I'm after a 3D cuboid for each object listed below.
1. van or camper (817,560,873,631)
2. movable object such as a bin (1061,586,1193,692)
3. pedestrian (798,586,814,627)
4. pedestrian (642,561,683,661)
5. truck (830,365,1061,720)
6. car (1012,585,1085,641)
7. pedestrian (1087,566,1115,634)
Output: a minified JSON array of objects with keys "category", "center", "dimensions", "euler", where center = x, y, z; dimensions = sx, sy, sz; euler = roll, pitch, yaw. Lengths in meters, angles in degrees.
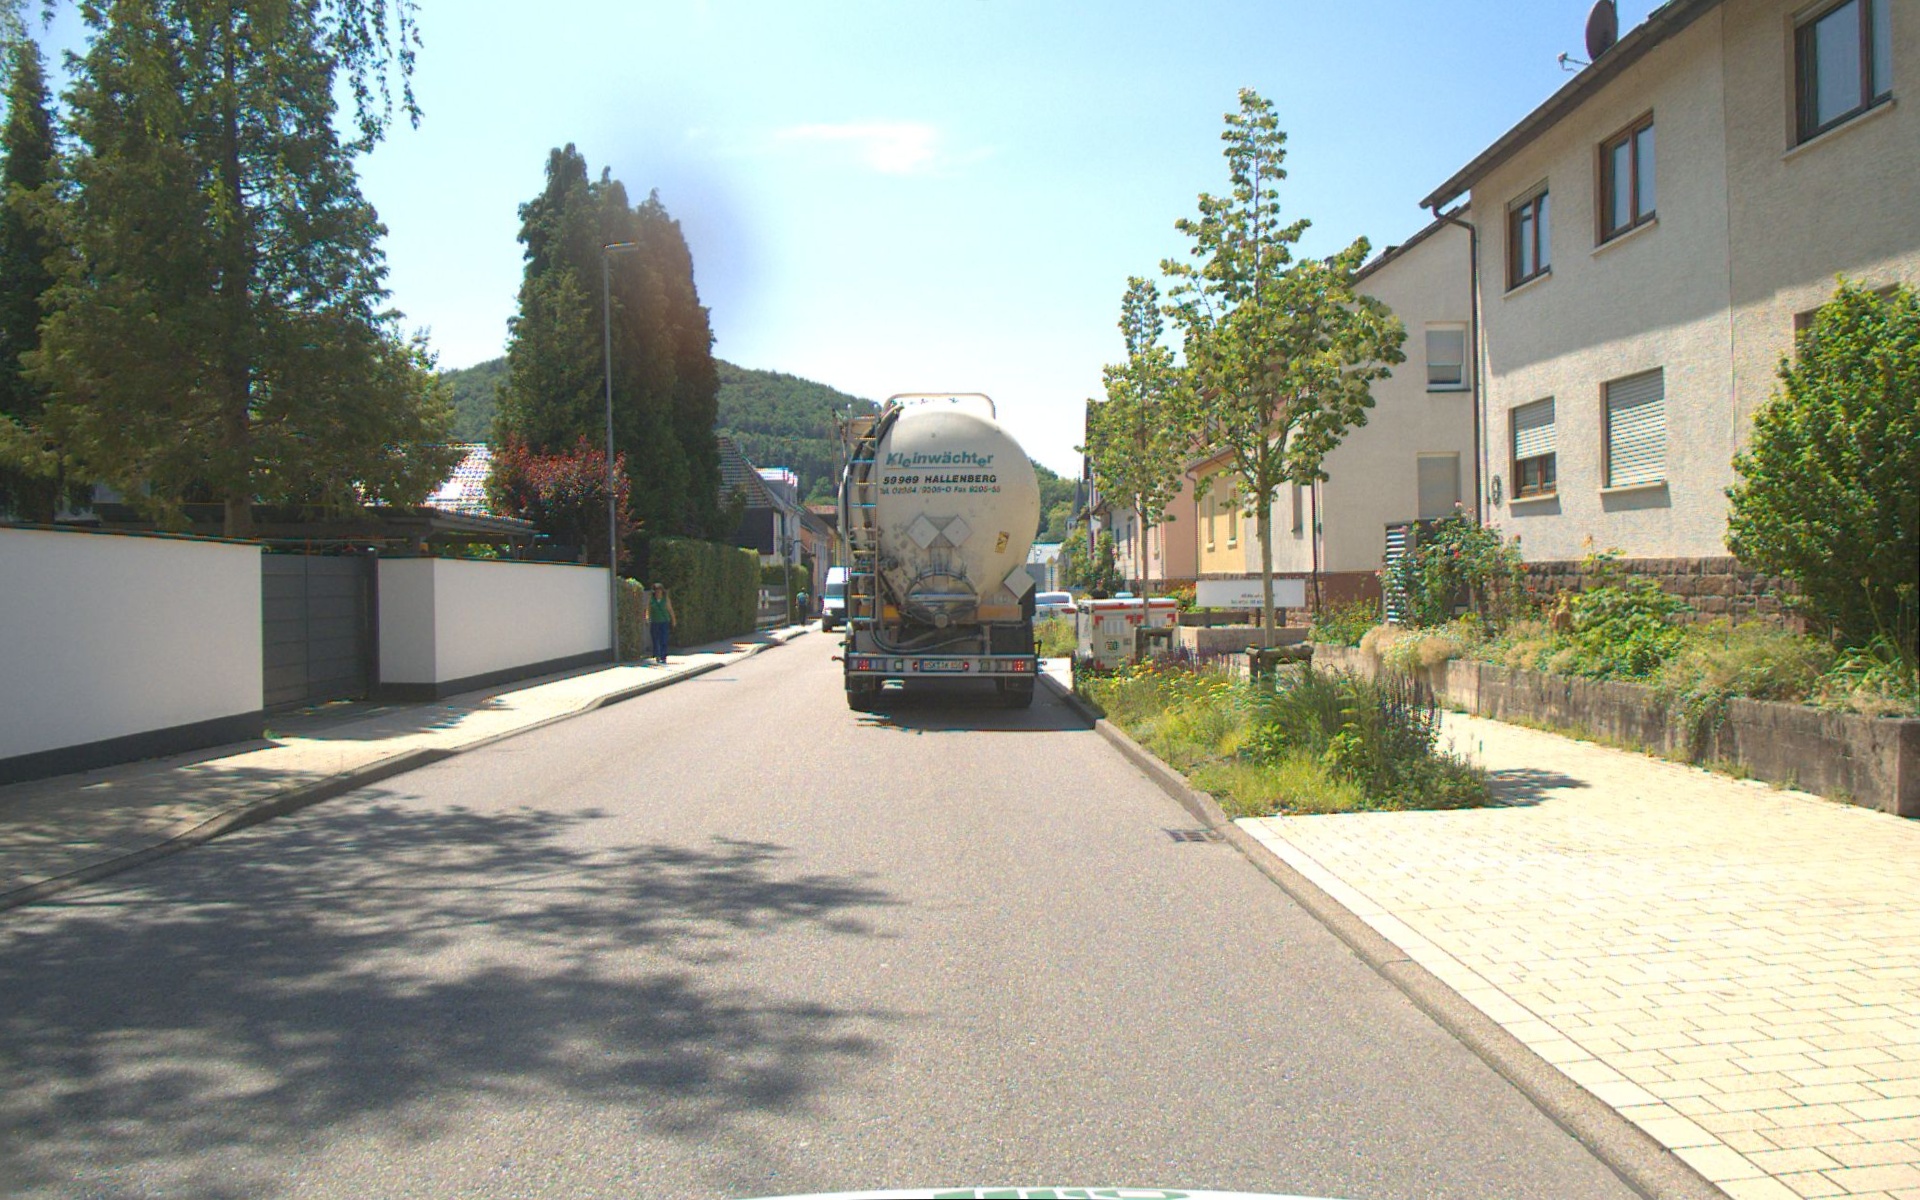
[{"category":"van or camper","center":[-4.692,-0.144,68.265],"dimensions":[1.996,2.761,5.822],"euler":[1,-1,-2]},{"category":"movable object such as a bin","center":[2.420,0.561,24.604],"dimensions":[1.540,1.441,3.040],"euler":[-1,-1,-2]},{"category":"pedestrian","center":[-7.082,0.298,76.113],"dimensions":[0.698,1.855,0.897],"euler":[1,-1,-5]},{"category":"pedestrian","center":[-6.193,0.241,34.450],"dimensions":[0.706,2.049,0.804],"euler":[1,-1,-2]},{"category":"truck","center":[-0.316,-0.687,24.733],"dimensions":[2.694,4.128,10.885],"euler":[0,0,-2]},{"category":"car","center":[2.521,0.409,48.014],"dimensions":[1.721,1.442,4.631],"euler":[-3,-1,-1]},{"category":"pedestrian","center":[4.301,0.011,50.456],"dimensions":[0.731,2.049,1.033],"euler":[1,-1,0]}]
